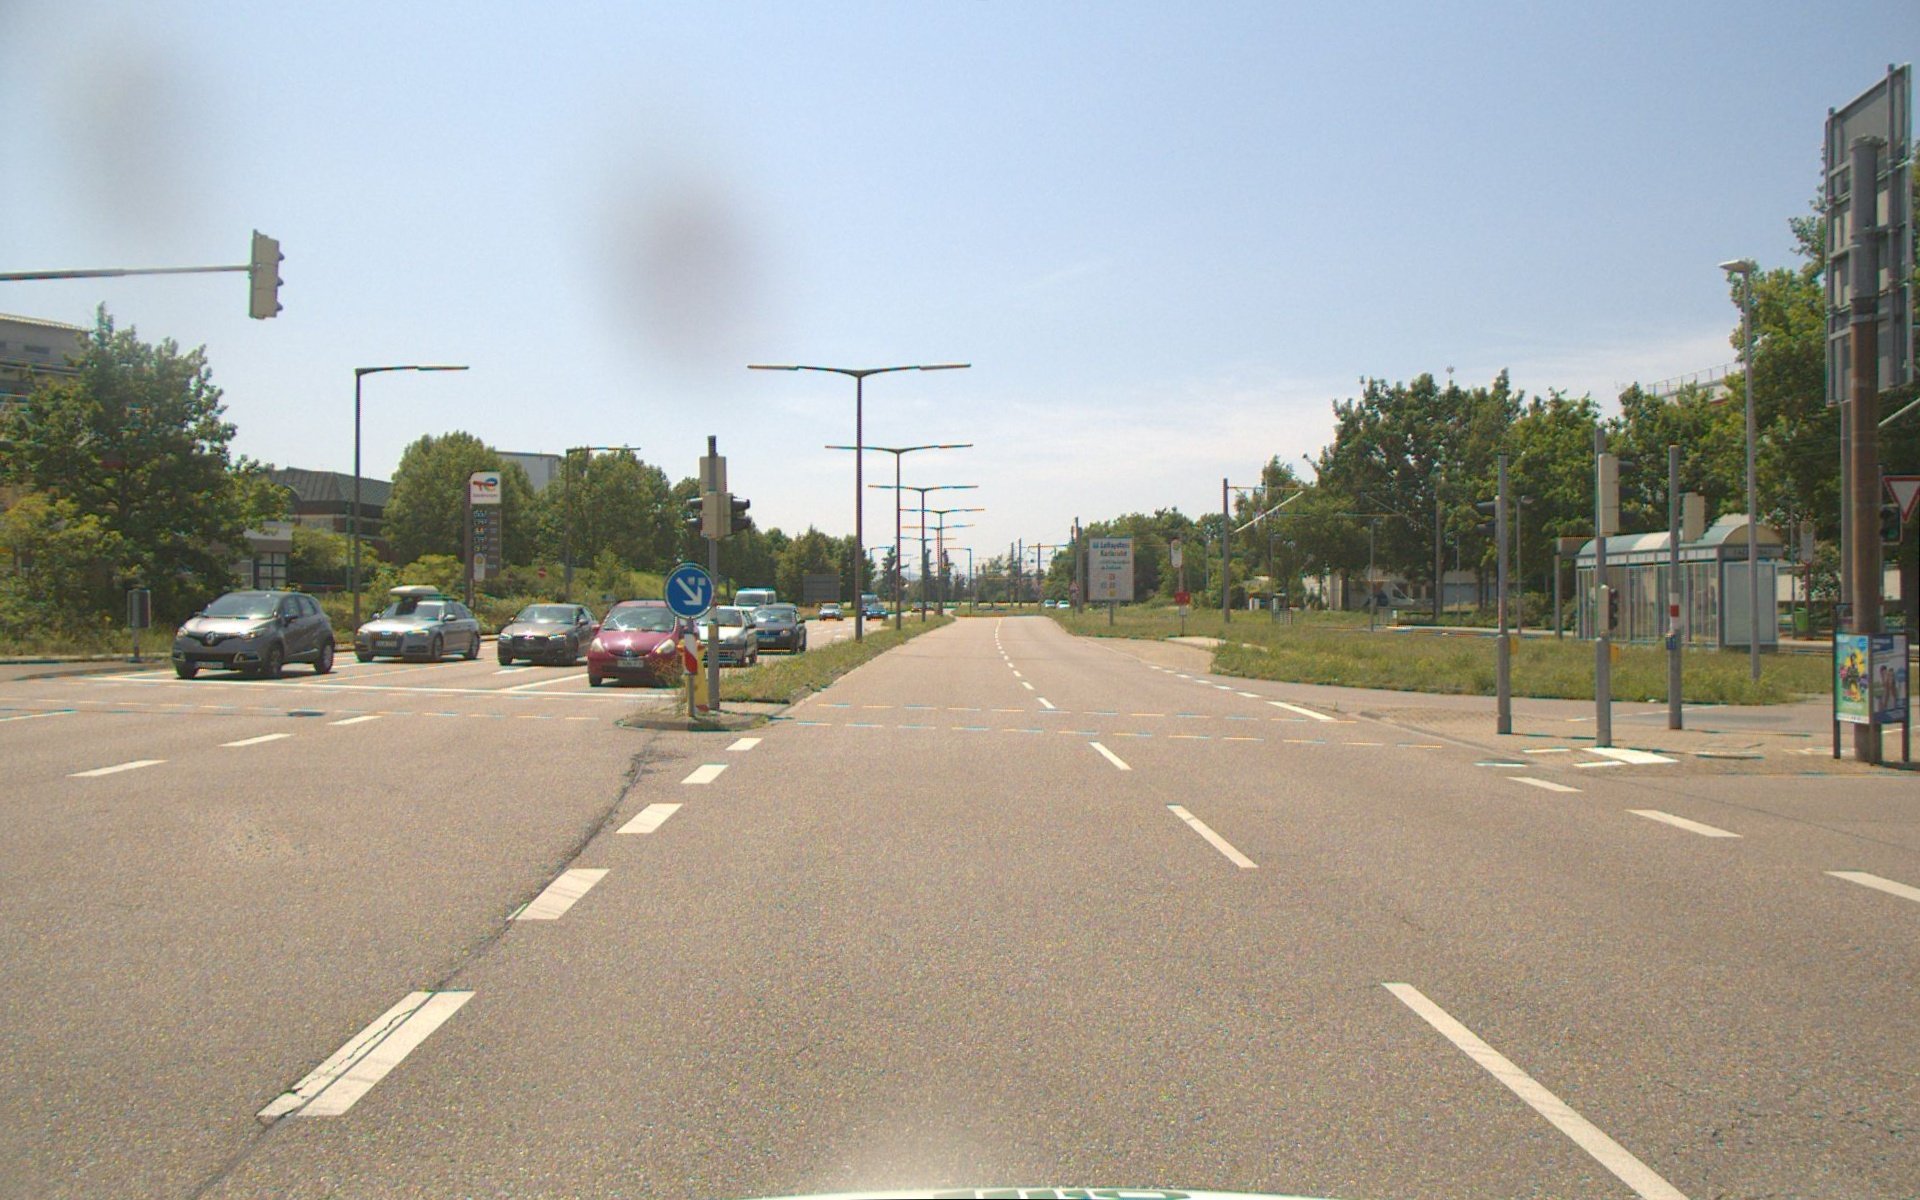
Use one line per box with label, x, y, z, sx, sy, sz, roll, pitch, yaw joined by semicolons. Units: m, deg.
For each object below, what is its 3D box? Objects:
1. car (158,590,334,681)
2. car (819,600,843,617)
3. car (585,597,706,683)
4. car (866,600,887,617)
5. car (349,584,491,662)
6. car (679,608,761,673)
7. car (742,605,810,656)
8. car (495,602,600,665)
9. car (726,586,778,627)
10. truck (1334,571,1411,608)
car;-13.271;0.615;30.992;1.625;1.566;3.999;1;0;-1
car;-11.169;0.713;143.420;1.793;1.474;4.850;0;0;-1
car;-5.861;0.708;31.214;1.625;1.516;3.999;0;0;-1
car;-7.475;0.714;148.656;1.695;1.483;4.564;0;0;-1
car;-13.051;0.532;40.334;1.925;1.780;5.020;0;0;-1
car;-5.834;0.945;40.496;1.529;1.448;3.853;1;0;-2
car;-5.525;0.896;50.090;1.642;1.459;4.190;1;0;-1
car;-9.790;0.767;39.518;1.564;1.409;4.002;1;0;-1
car;-12.174;0.384;97.139;2.203;2.313;5.449;1;0;1
truck;34.444;-0.880;138.188;5.730;2.893;2.316;-2;-1;-7
